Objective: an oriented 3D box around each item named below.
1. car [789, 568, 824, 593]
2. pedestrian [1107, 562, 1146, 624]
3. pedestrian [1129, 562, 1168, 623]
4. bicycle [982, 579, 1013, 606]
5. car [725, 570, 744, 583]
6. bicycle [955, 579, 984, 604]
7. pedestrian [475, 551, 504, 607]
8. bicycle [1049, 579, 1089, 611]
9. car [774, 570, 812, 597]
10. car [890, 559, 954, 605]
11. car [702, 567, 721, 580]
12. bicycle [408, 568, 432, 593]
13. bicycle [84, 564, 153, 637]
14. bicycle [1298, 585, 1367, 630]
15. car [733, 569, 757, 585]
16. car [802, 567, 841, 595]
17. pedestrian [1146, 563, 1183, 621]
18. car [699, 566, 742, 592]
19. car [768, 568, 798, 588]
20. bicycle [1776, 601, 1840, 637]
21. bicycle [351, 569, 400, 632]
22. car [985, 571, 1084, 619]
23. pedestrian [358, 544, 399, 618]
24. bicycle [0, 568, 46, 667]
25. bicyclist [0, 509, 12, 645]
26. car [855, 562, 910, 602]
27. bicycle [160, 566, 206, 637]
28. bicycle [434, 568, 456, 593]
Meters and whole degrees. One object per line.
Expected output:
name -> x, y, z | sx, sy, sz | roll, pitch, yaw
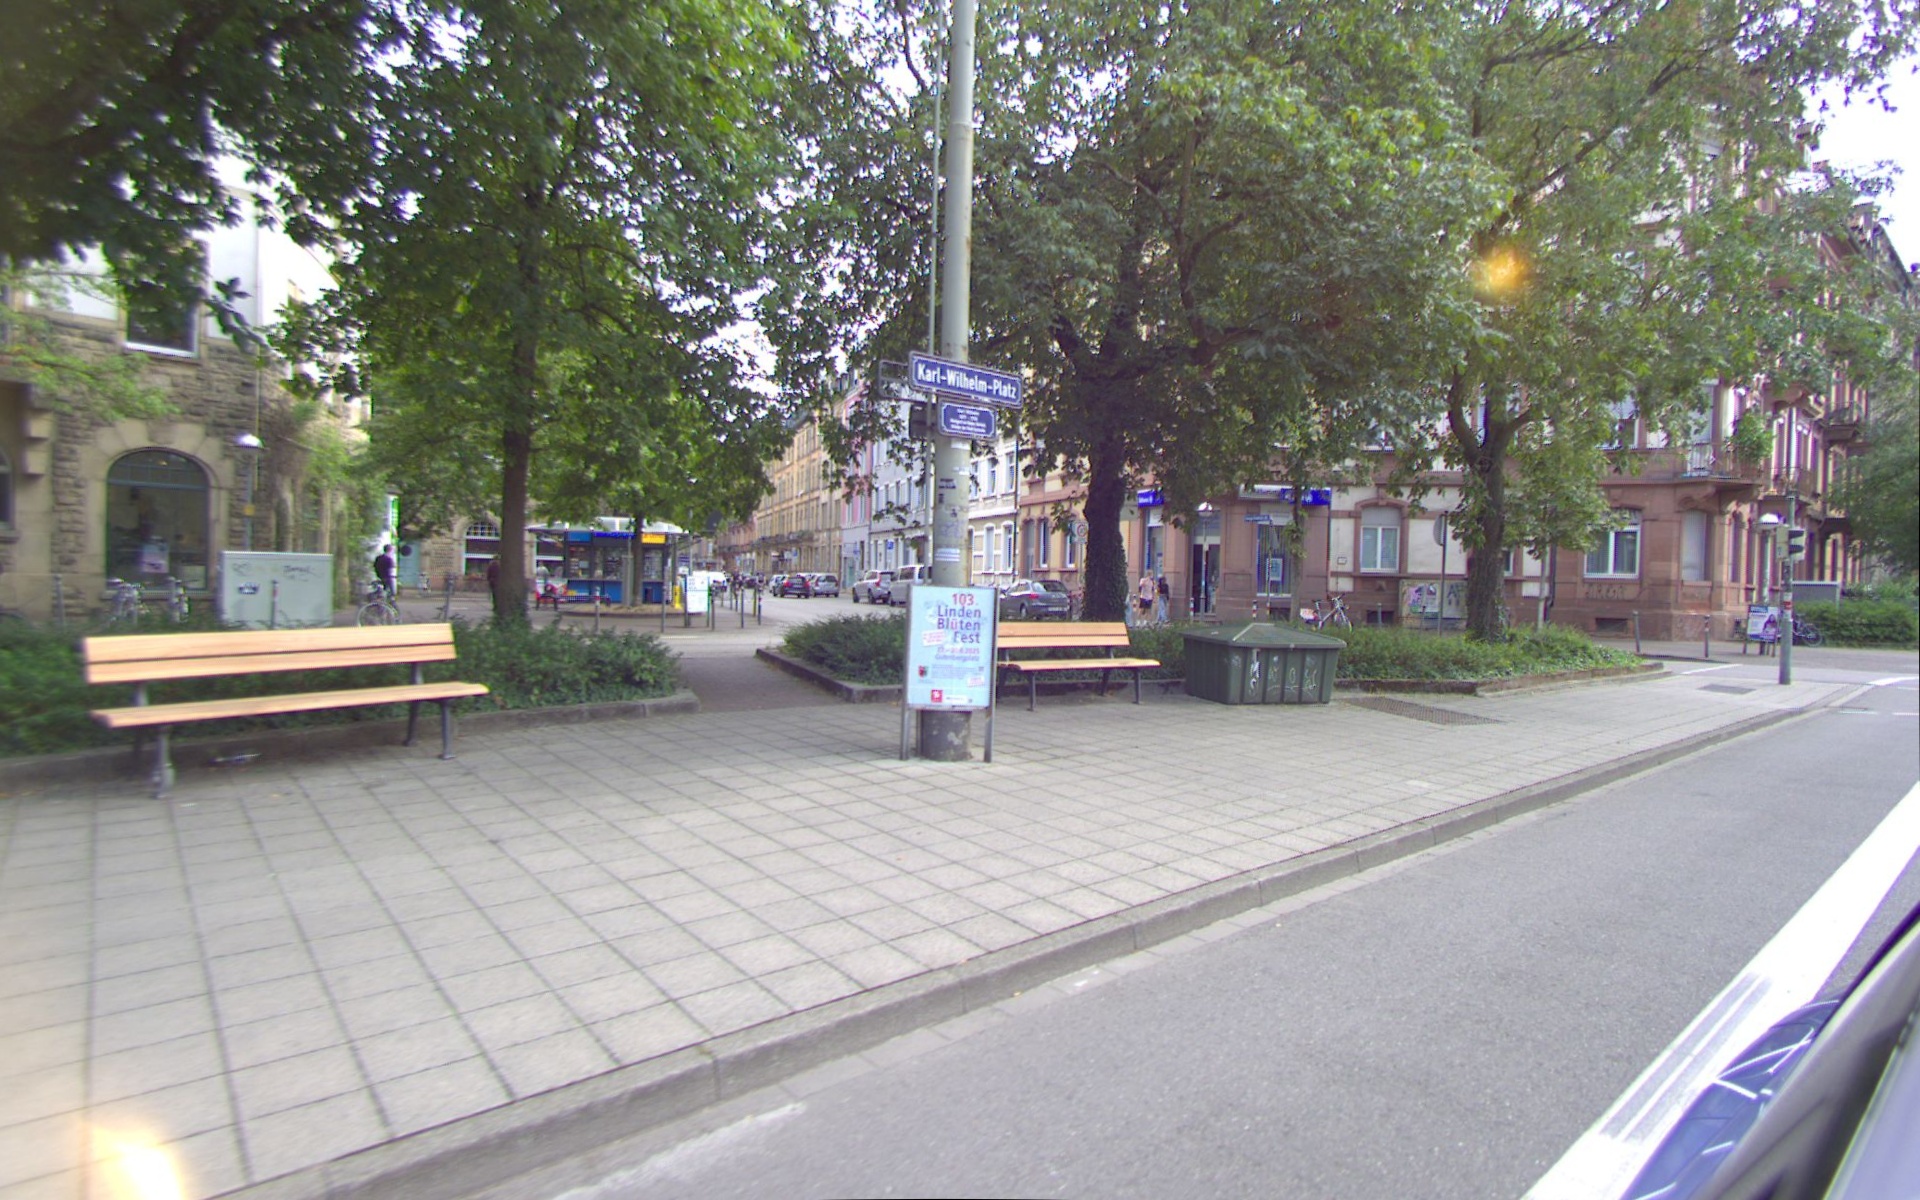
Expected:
car -> -11.219, -1.439, 73.778 | 1.780, 1.771, 4.009 | 1, 2, -19
pedestrian -> 4.864, -0.203, 29.631 | 0.875, 1.750, 0.734 | 2, 2, -8
pedestrian -> 5.641, -0.234, 30.266 | 0.741, 1.750, 0.895 | 2, 2, -17
bicycle -> 1.678, -0.354, 45.701 | 0.659, 1.135, 1.944 | 1, 2, -22
car -> -27.148, -2.840, 121.746 | 1.958, 1.538, 4.010 | 1, 2, -18
bicycle -> 0.445, -0.429, 49.467 | 0.659, 1.135, 1.944 | 1, 2, -22
pedestrian -> -14.031, -0.628, 30.194 | 0.717, 1.643, 0.837 | 1, 1, -21
bicycle -> 4.218, -0.207, 39.160 | 0.659, 1.135, 1.944 | 1, 2, -22
car -> -10.585, -1.062, 63.866 | 1.780, 1.542, 4.010 | 1, 2, -18
car -> -1.801, -0.878, 46.922 | 1.829, 2.005, 4.009 | 1, 2, -19
car -> -30.778, -3.272, 125.163 | 1.958, 1.538, 4.010 | 1, 2, -18
bicycle -> -25.604, -0.951, 48.011 | 0.595, 1.130, 1.903 | 1, 2, -17
bicycle -> -14.190, -0.019, 17.043 | 1.884, 1.142, 0.525 | 3, 2, 39
bicycle -> 10.378, 0.198, 28.211 | 1.665, 1.158, 0.663 | 3, 2, 41
car -> -22.248, -2.397, 104.598 | 1.958, 1.538, 4.010 | 1, 2, -18
car -> -9.371, -1.291, 68.211 | 1.780, 1.771, 4.009 | 1, 2, -19
pedestrian -> 6.437, -0.267, 31.883 | 0.717, 1.750, 0.895 | 2, 2, -17
car -> -14.516, -1.276, 61.092 | 1.958, 1.538, 4.009 | 0, 1, -22
car -> -14.766, -1.834, 84.190 | 1.958, 1.538, 4.010 | 1, 2, -18
bicycle -> 24.580, 0.556, 29.339 | 1.518, 0.981, 0.511 | 2, 1, -8
bicycle -> -11.464, -0.006, 19.826 | 0.523, 1.142, 1.892 | 1, 2, -39
car -> 2.402, -0.201, 33.601 | 1.780, 1.459, 4.009 | 1, 2, -19
pedestrian -> -13.597, -0.454, 23.684 | 0.717, 1.696, 0.837 | 1, 1, -23
bicycle -> -12.112, 0.202, 11.825 | 0.652, 1.166, 2.071 | 3, 2, 42
bicyclist -> -11.998, -0.287, 11.940 | 0.644, 1.626, 1.122 | 3, 2, 42
car -> -4.077, -0.981, 52.552 | 1.780, 1.967, 4.165 | 1, 2, -19
bicycle -> -13.449, 0.001, 17.541 | 0.522, 1.142, 1.894 | 1, 2, -35
bicycle -> -24.468, -0.952, 48.117 | 0.595, 1.130, 1.903 | 1, 2, -17
